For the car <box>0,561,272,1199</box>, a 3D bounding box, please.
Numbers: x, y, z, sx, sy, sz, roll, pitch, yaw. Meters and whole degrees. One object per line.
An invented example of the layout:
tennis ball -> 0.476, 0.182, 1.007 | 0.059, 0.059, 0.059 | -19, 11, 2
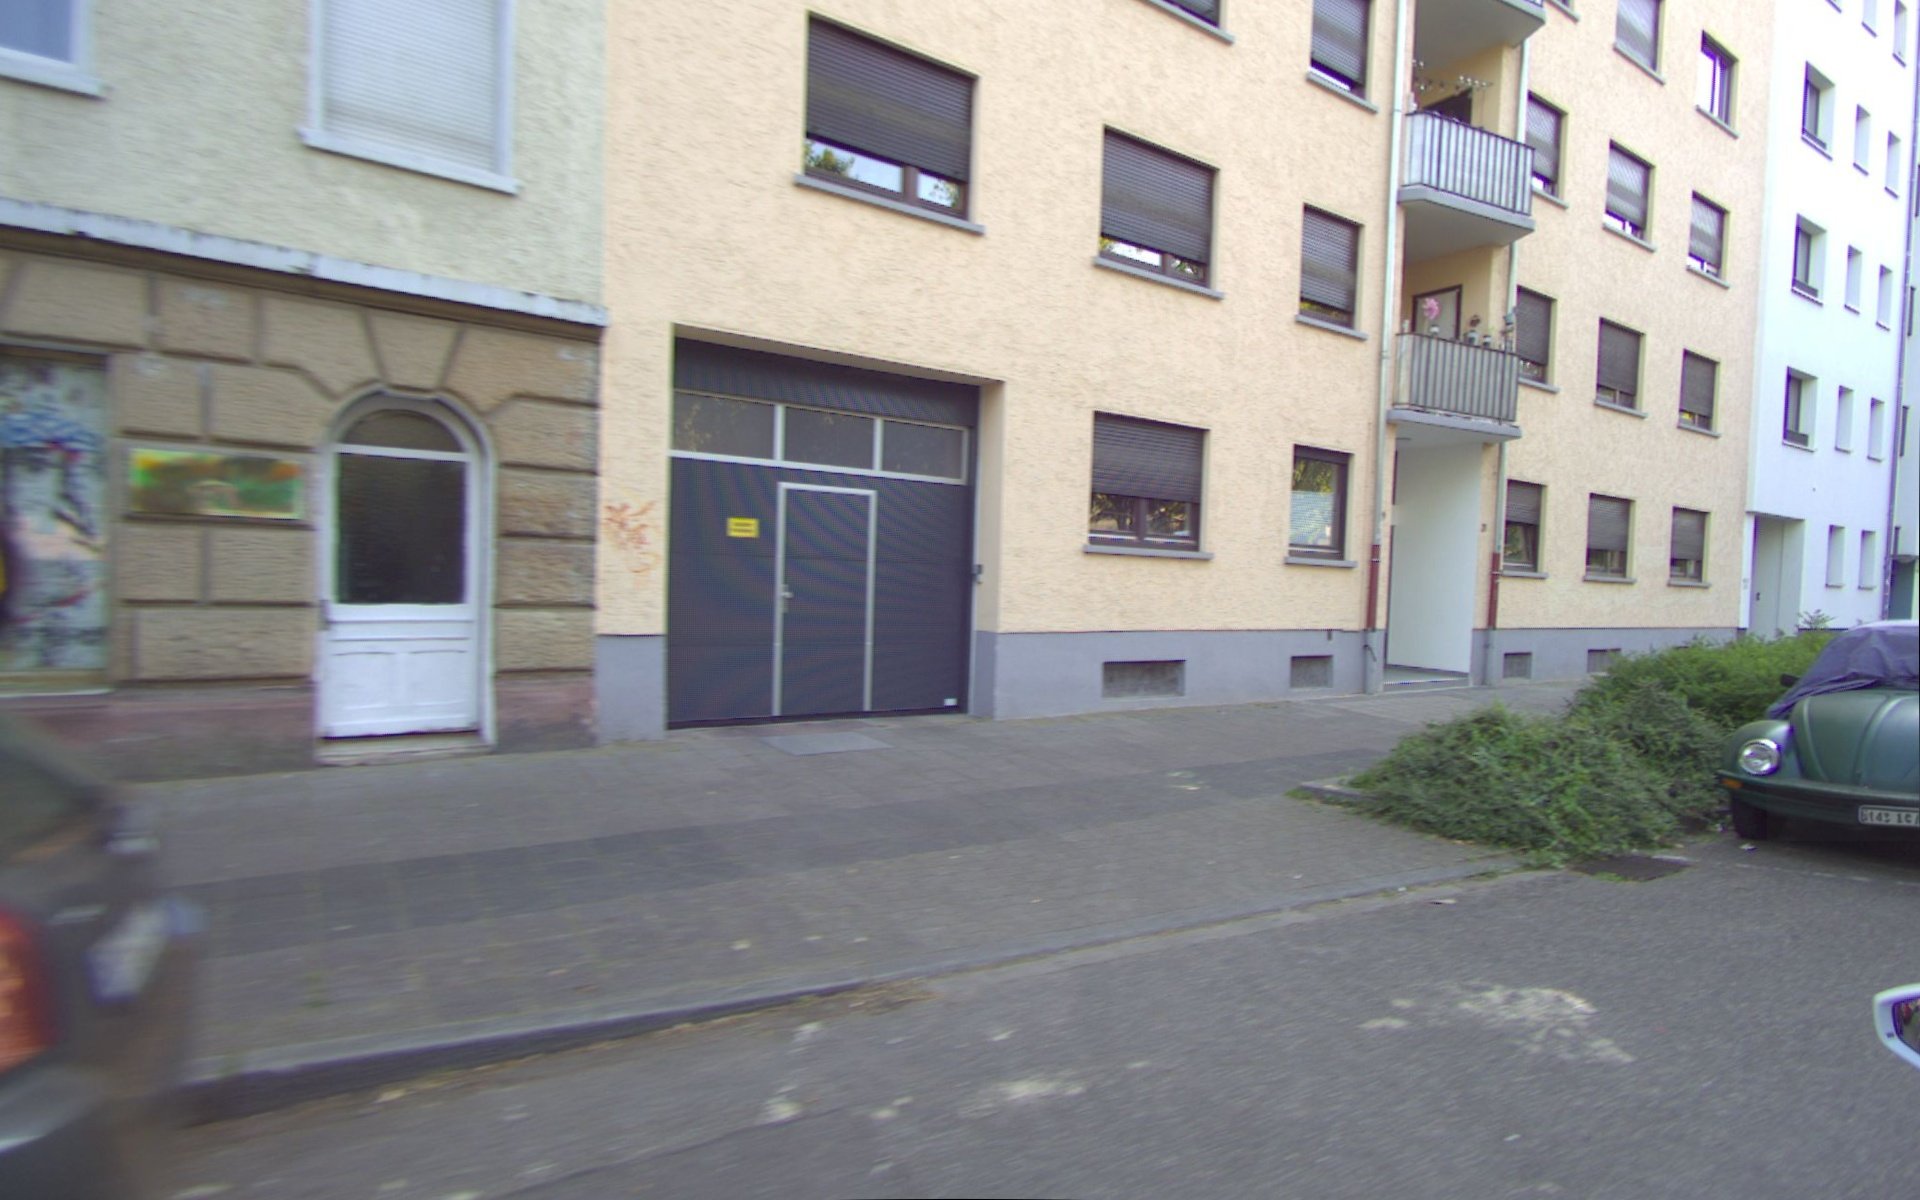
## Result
car -> -3.149, 0.668, 1.005 | 3.956, 1.486, 1.628 | 1, -1, -32

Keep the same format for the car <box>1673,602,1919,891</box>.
car -> 6.640, 0.841, 6.810 | 3.739, 1.538, 1.558 | 1, 1, -31
